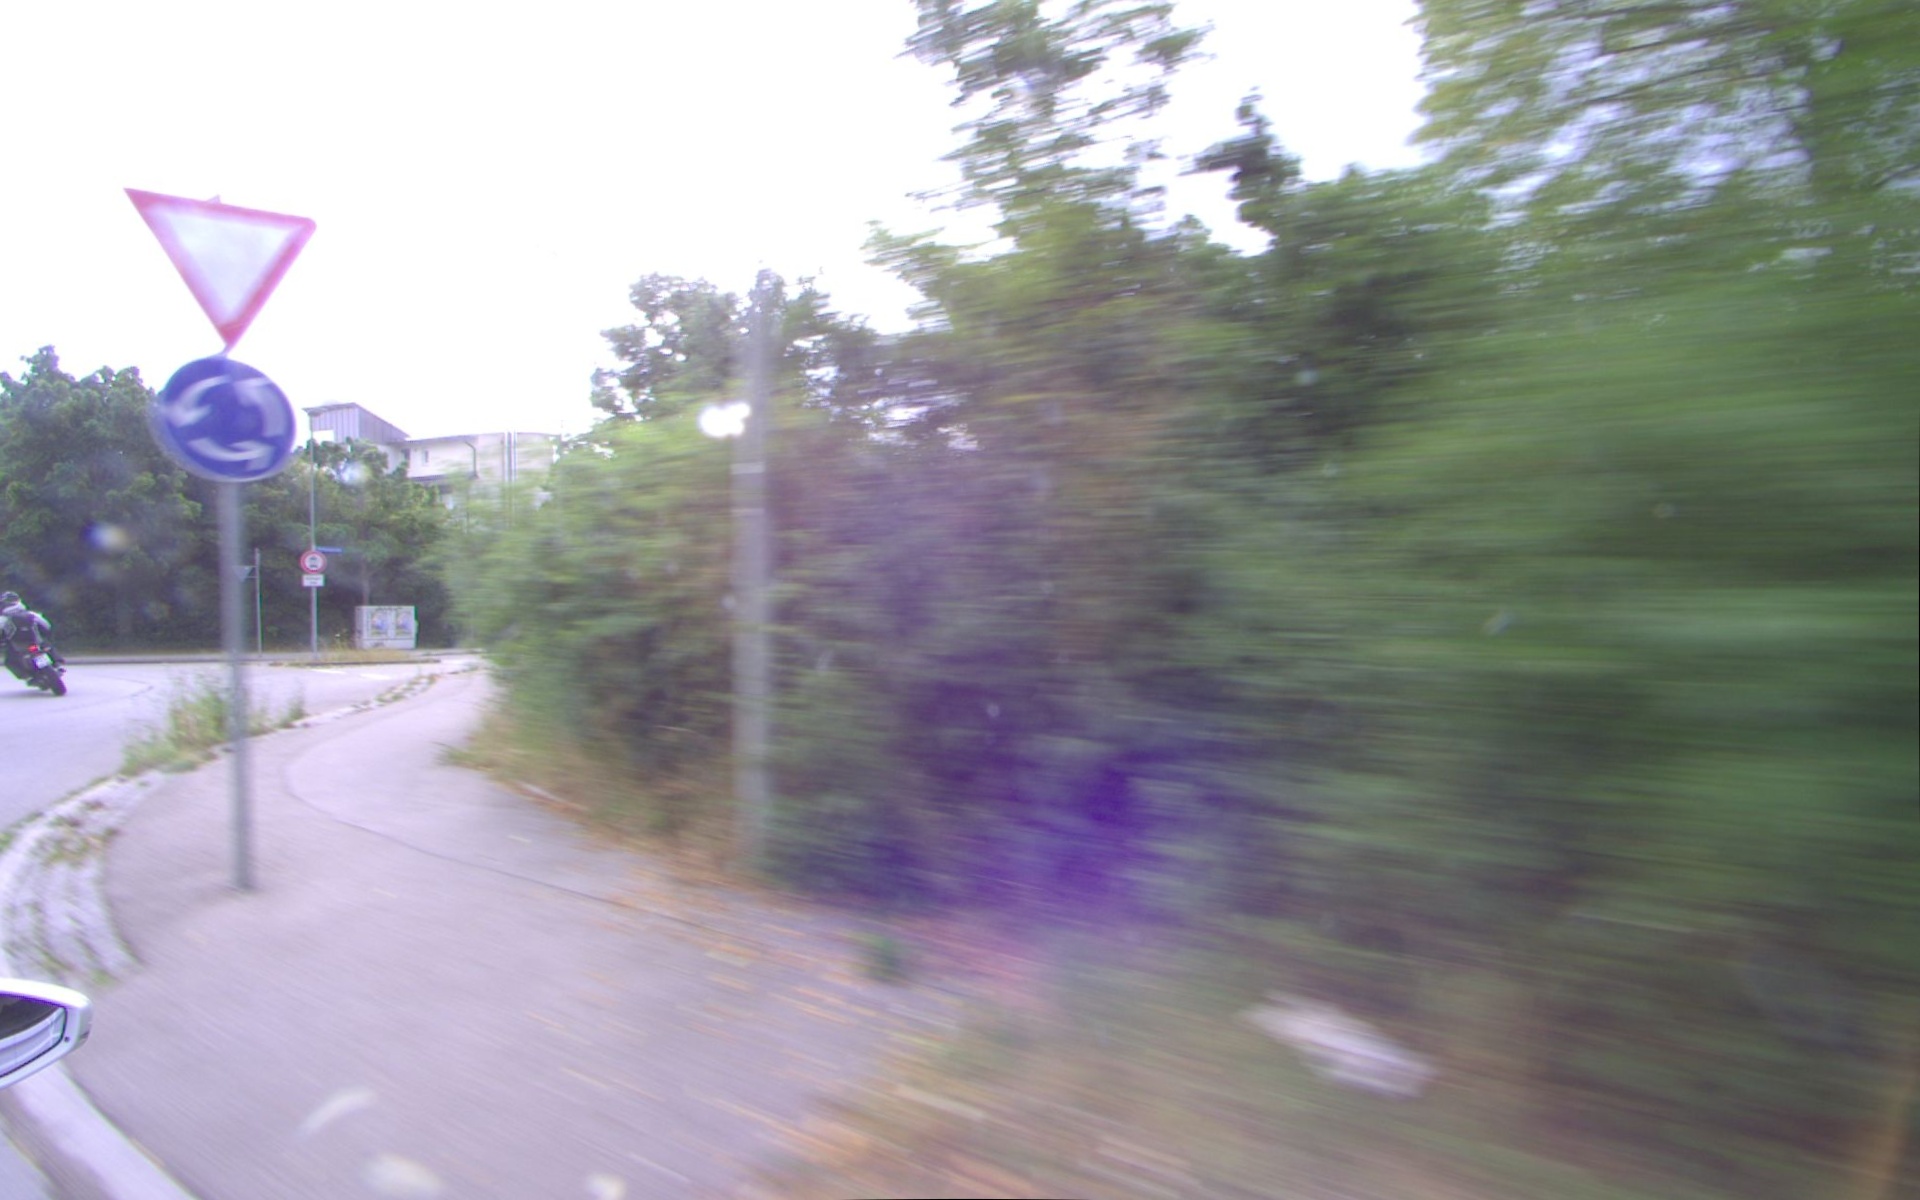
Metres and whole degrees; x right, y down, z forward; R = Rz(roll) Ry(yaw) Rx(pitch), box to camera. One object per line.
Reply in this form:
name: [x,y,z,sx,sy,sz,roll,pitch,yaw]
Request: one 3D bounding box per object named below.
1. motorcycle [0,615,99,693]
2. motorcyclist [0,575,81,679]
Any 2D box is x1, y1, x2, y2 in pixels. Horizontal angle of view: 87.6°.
motorcycle: [-15.131,0.841,16.415,2.584,1.173,0.894,0,0,34]
motorcyclist: [-15.187,0.434,16.437,1.174,1.645,0.859,0,0,33]
